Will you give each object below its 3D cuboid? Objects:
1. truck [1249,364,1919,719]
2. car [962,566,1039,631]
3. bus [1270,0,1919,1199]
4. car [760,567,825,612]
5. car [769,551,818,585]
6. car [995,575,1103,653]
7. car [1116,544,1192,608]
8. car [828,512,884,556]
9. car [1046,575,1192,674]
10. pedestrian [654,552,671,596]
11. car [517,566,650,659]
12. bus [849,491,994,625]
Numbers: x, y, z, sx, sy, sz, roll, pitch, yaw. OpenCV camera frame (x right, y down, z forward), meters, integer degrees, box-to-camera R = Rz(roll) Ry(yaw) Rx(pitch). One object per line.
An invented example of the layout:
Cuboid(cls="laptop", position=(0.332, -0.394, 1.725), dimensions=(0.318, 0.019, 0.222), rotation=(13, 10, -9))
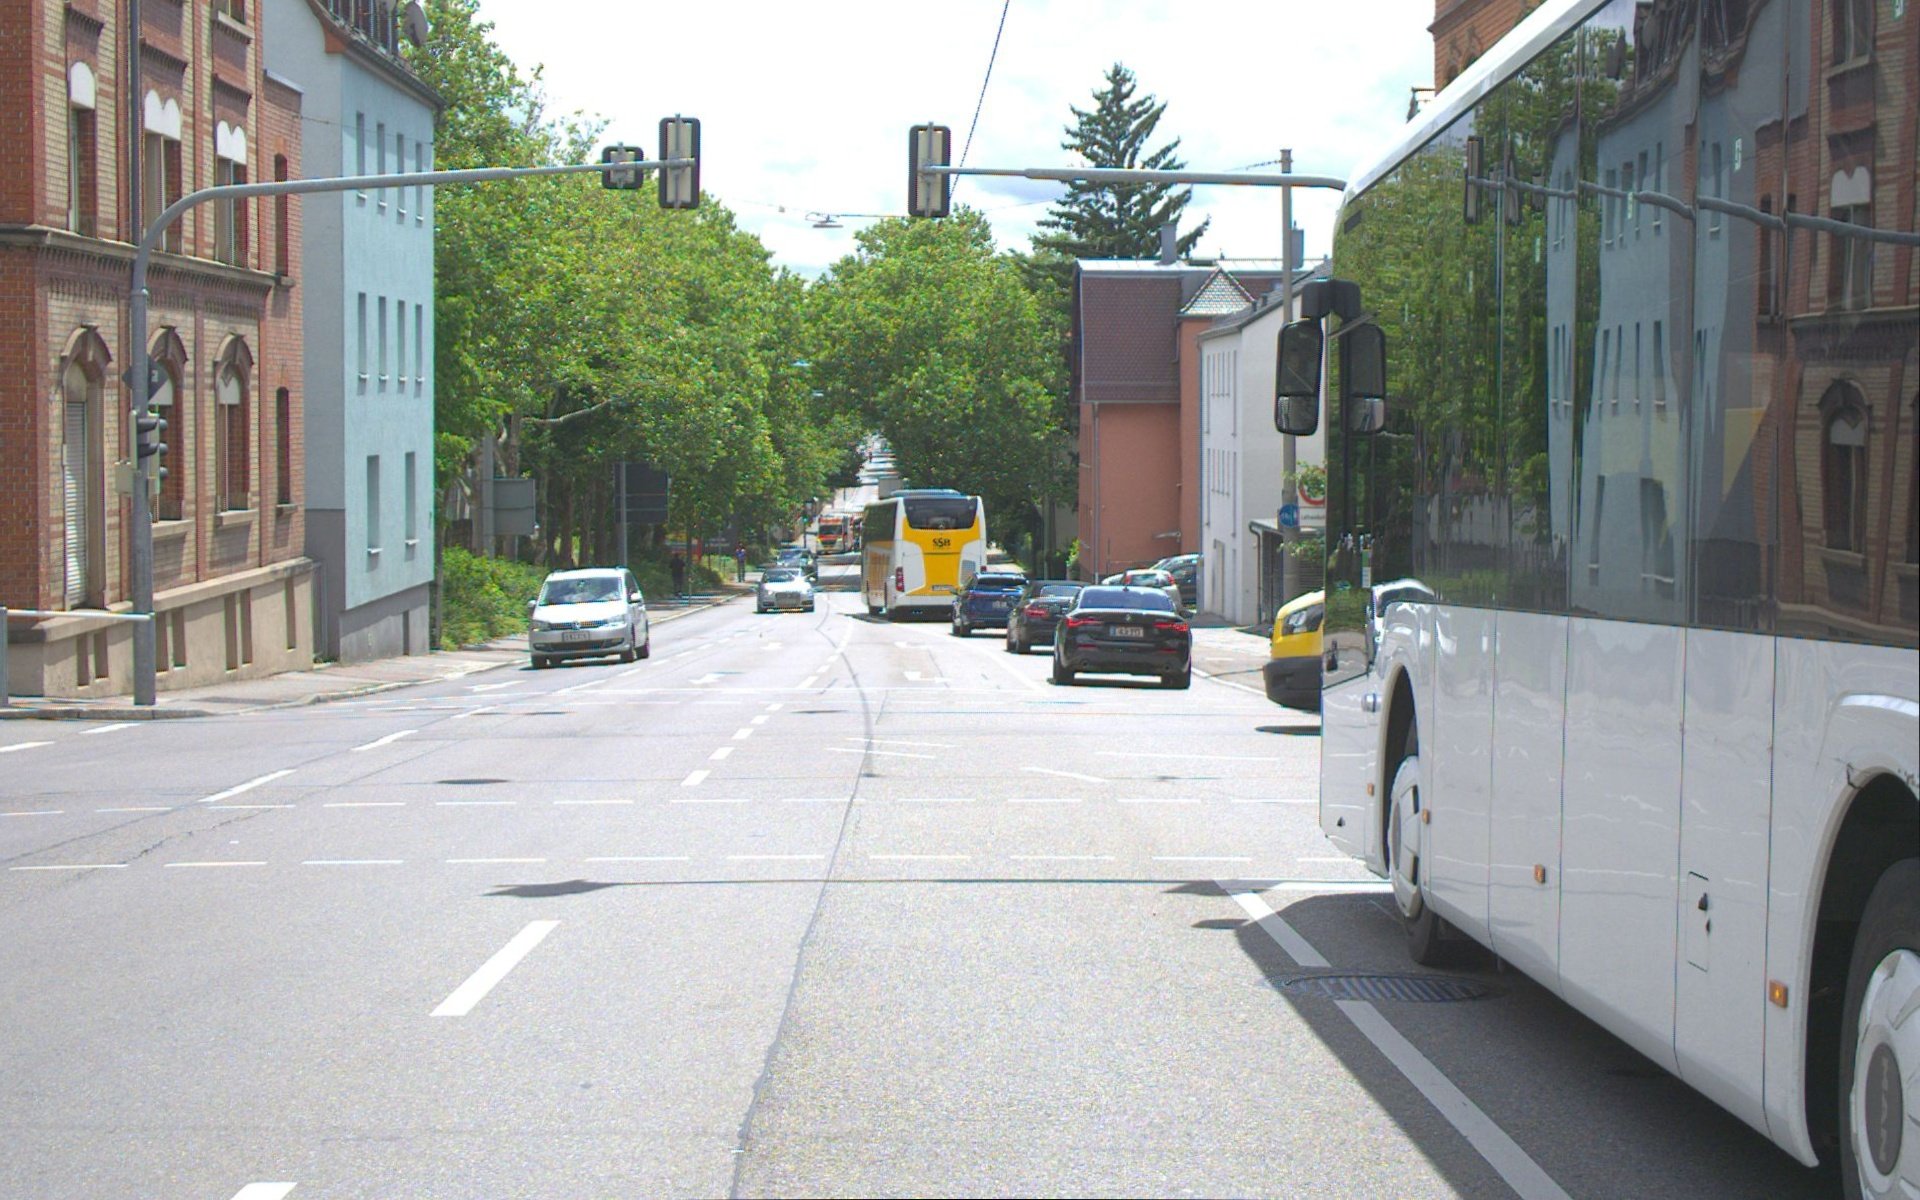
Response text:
Cuboid(cls="truck", position=(5.955, -0.522, 30.393), dimensions=(6.553, 2.903, 2.548), rotation=(1, 1, 9))
Cuboid(cls="car", position=(0.879, -0.051, 76.367), dimensions=(1.608, 1.371, 4.000), rotation=(0, 1, -1))
Cuboid(cls="bus", position=(2.950, -0.210, 9.288), dimensions=(2.904, 3.498, 12.488), rotation=(1, 1, -1))
Cuboid(cls="car", position=(-5.288, -0.351, 109.017), dimensions=(1.865, 1.363, 4.547), rotation=(-1, 1, -1))
Cuboid(cls="car", position=(-8.106, -1.555, 167.770), dimensions=(2.207, 1.607, 4.547), rotation=(-1, 1, -1))
Cuboid(cls="car", position=(1.659, 0.239, 65.429), dimensions=(1.865, 1.363, 4.547), rotation=(-1, 1, -1))
Cuboid(cls="car", position=(5.244, -0.667, 93.266), dimensions=(1.767, 1.660, 4.000), rotation=(-1, 1, -1))
Cuboid(cls="car", position=(-7.418, -4.696, 244.844), dimensions=(2.143, 3.059, 5.621), rotation=(1, 1, 18))
Cuboid(cls="car", position=(2.175, 0.314, 47.970), dimensions=(1.797, 1.271, 4.000), rotation=(-1, 1, -1))
Cuboid(cls="pedestrian", position=(-11.819, -1.029, 136.594), dimensions=(0.606, 1.752, 0.654), rotation=(-1, 1, -2))
Cuboid(cls="car", position=(-6.674, 0.200, 61.361), dimensions=(1.935, 1.558, 4.389), rotation=(-1, 1, -1))
Cuboid(cls="bus", position=(-1.222, -1.238, 99.234), dimensions=(3.300, 3.618, 11.246), rotation=(-1, 1, -5))
